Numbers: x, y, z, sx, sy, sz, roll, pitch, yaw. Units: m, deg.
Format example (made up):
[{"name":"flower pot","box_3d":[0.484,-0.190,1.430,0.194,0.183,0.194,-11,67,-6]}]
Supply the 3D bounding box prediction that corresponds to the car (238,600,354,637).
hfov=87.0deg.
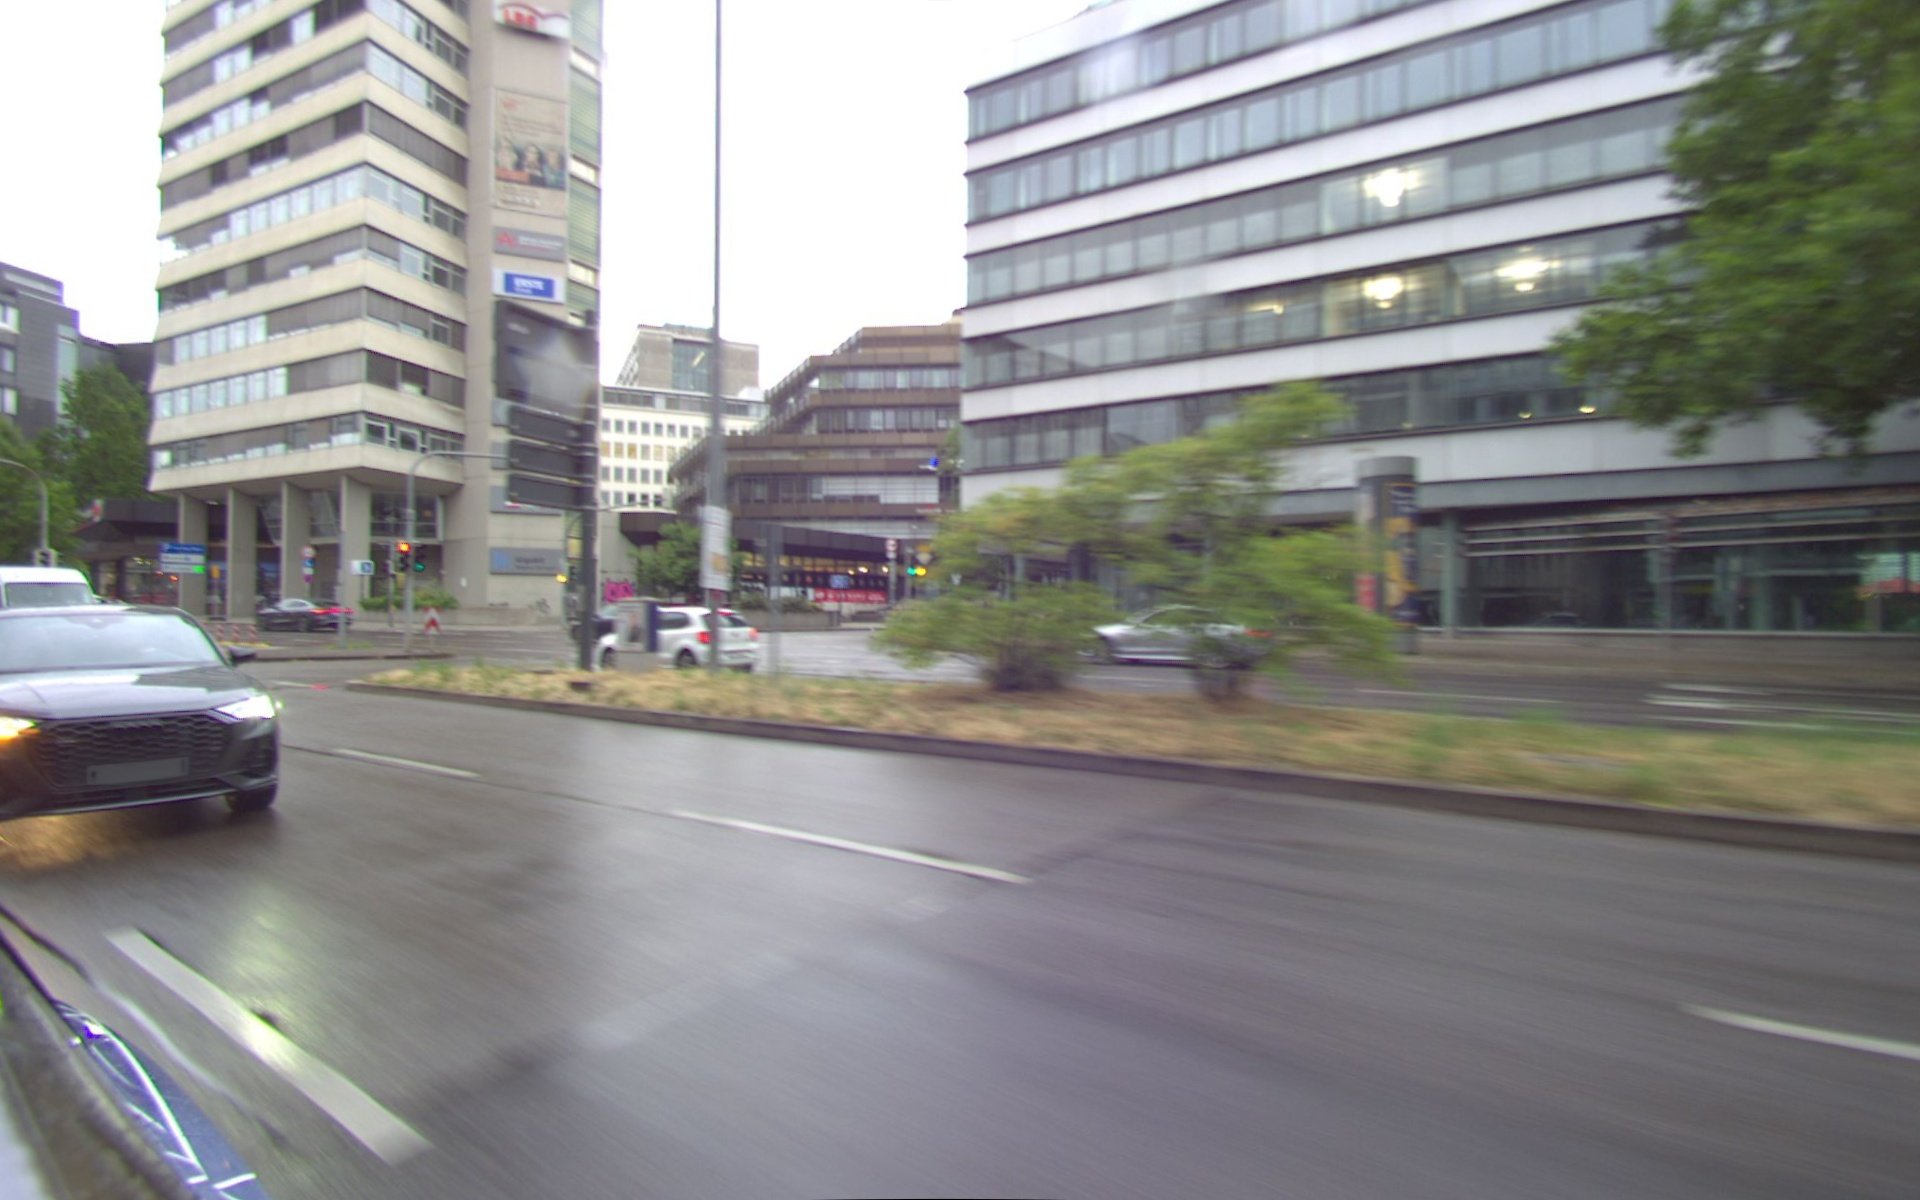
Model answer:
[{"name":"car","box_3d":[-30.197,0.798,45.993,5.138,1.597,1.984,0,0,24]}]

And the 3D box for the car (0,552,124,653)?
[{"name":"car","box_3d":[-24.300,0.036,26.475,5.704,2.403,2.235,0,0,34]}]

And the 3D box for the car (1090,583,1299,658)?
[{"name":"car","box_3d":[5.572,0.488,24.309,4.476,1.630,1.974,-1,-1,38]}]

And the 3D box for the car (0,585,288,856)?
[{"name":"car","box_3d":[-6.775,0.679,7.750,4.389,1.563,1.778,1,0,43]}]

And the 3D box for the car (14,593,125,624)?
[{"name":"car","box_3d":[-46.512,0.410,52.885,5.203,1.529,1.781,0,0,15]}]

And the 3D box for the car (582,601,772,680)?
[{"name":"car","box_3d":[-5.974,0.775,21.218,3.962,1.475,1.736,1,0,35]}]

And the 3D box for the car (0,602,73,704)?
[{"name":"car","box_3d":[-15.972,0.794,16.238,4.119,1.490,1.754,1,0,36]}]
